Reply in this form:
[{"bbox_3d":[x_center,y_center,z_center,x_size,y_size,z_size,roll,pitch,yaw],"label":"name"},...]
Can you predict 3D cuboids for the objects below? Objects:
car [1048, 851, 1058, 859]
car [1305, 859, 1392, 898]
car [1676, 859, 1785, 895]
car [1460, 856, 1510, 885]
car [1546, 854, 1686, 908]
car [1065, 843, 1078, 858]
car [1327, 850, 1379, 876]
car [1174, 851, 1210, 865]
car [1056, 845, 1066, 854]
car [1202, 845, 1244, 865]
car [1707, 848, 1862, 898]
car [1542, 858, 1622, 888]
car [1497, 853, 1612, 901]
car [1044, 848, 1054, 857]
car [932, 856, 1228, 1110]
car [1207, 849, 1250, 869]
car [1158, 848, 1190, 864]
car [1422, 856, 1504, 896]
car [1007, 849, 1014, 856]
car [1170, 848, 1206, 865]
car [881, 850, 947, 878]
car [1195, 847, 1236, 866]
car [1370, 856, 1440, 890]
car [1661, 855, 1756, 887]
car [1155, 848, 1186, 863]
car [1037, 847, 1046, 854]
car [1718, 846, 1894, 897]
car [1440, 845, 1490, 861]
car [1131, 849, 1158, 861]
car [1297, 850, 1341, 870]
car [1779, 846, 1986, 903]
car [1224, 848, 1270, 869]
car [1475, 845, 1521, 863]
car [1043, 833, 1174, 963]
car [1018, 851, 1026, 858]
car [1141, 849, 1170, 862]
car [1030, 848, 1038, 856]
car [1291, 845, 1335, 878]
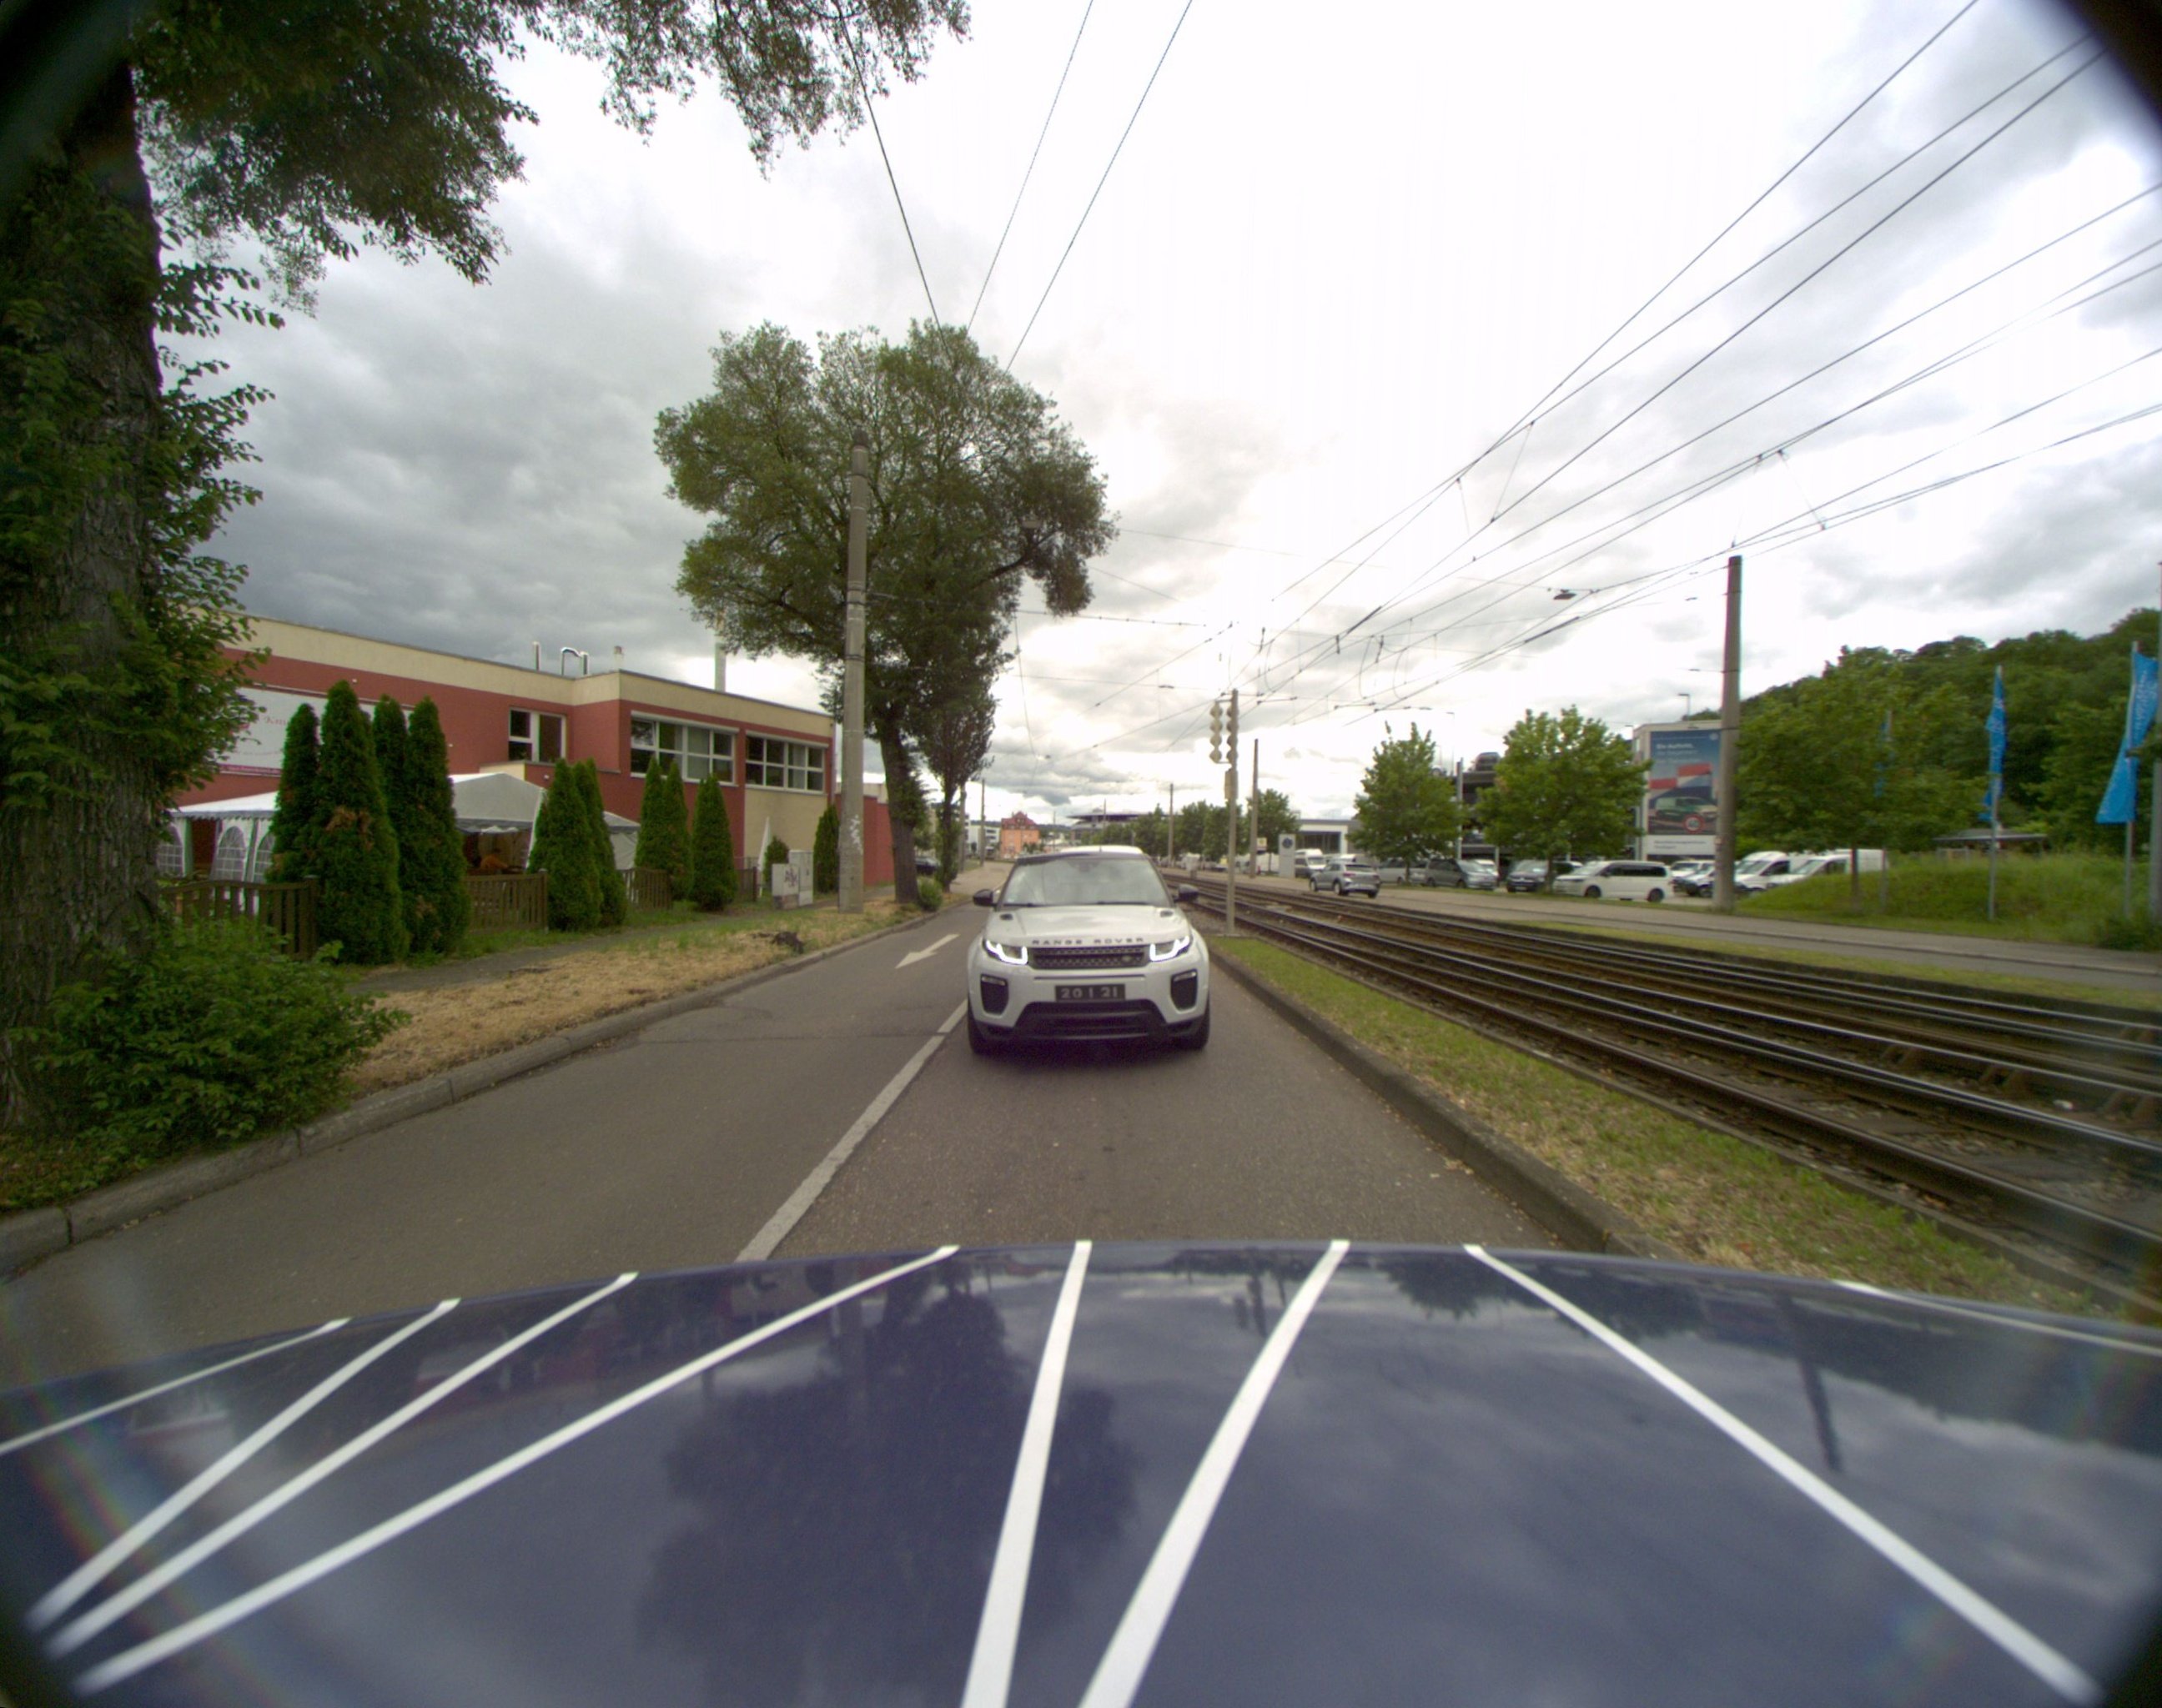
[{"bbox_3d":[-7.019,0.281,191.678,2.000,2.002,3.997,-2,1,-7],"label":"car"},{"bbox_3d":[11.946,1.061,34.239,2.000,1.569,4.175,1,0,-7],"label":"car"},{"bbox_3d":[36.647,1.282,42.979,4.228,1.826,1.983,-2,1,19],"label":"car"},{"bbox_3d":[28.870,1.144,54.401,1.900,1.882,4.600,-2,1,12],"label":"car"},{"bbox_3d":[25.262,1.237,35.991,5.269,2.254,1.999,-2,1,-3],"label":"car"},{"bbox_3d":[-1.910,-0.699,150.729,2.410,2.931,4.747,-2,1,-2],"label":"car"},{"bbox_3d":[30.308,0.968,84.557,6.057,2.608,2.316,-3,1,-34],"label":"car"},{"bbox_3d":[15.743,0.587,108.118,4.639,1.829,2.107,-2,1,-8],"label":"car"},{"bbox_3d":[-4.667,-1.061,178.501,2.000,2.002,3.997,-2,1,-7],"label":"car"},{"bbox_3d":[17.473,0.133,93.602,4.639,2.196,2.107,-2,1,-8],"label":"car"},{"bbox_3d":[36.764,1.001,39.916,5.652,2.446,1.983,-2,1,19],"label":"car"},{"bbox_3d":[34.389,1.298,52.309,4.228,1.826,1.983,-2,1,19],"label":"car"},{"bbox_3d":[24.670,1.150,39.661,4.774,2.254,1.979,-2,1,-3],"label":"car"},{"bbox_3d":[-7.326,-0.277,174.236,2.000,2.002,3.997,-2,1,-7],"label":"car"},{"bbox_3d":[-0.007,0.887,7.288,1.998,1.680,4.268,0,1,0],"label":"car"},{"bbox_3d":[17.681,0.599,91.166,4.639,2.196,2.107,-2,1,-8],"label":"car"},{"bbox_3d":[14.737,0.303,120.476,4.639,2.196,2.107,-2,1,-8],"label":"car"},{"bbox_3d":[22.934,1.266,45.861,2.142,2.104,4.773,-2,1,-7],"label":"car"},{"bbox_3d":[-21.829,-0.369,235.771,2.000,2.002,3.997,-2,1,-7],"label":"car"},{"bbox_3d":[15.521,0.385,110.520,4.639,2.196,2.107,-2,1,-8],"label":"car"},{"bbox_3d":[-10.843,0.616,49.587,3.999,1.636,1.895,-2,1,-6],"label":"car"},{"bbox_3d":[17.052,0.314,96.386,4.639,2.196,2.107,-2,1,-8],"label":"car"},{"bbox_3d":[22.116,1.233,52.095,2.142,2.104,4.772,-2,1,-8],"label":"car"},{"bbox_3d":[39.864,1.060,48.390,4.228,1.826,1.983,-2,1,19],"label":"car"},{"bbox_3d":[14.460,0.286,122.911,4.639,2.196,2.107,-2,1,-8],"label":"car"},{"bbox_3d":[-10.669,-0.977,205.058,2.000,2.002,3.997,-2,1,-7],"label":"car"},{"bbox_3d":[34.983,0.854,36.909,5.839,2.254,2.056,-2,1,22],"label":"car"},{"bbox_3d":[46.321,-0.116,91.793,5.216,1.826,1.983,-2,1,21],"label":"car"},{"bbox_3d":[11.821,0.181,141.310,4.639,2.196,2.107,-2,1,-8],"label":"car"},{"bbox_3d":[29.101,0.714,93.020,4.636,2.196,2.108,-2,1,-1],"label":"car"},{"bbox_3d":[34.666,0.908,33.120,5.850,2.254,2.056,-2,1,22],"label":"car"},{"bbox_3d":[18.759,0.534,86.080,4.639,2.196,2.107,-2,1,-8],"label":"car"},{"bbox_3d":[47.092,-0.030,85.892,4.227,1.826,1.983,-2,1,21],"label":"car"},{"bbox_3d":[0.424,0.654,14.090,1.998,1.990,5.033,0,1,0],"label":"car"},{"bbox_3d":[-16.350,0.090,211.273,2.000,2.002,3.997,-2,1,-7],"label":"car"},{"bbox_3d":[12.988,0.231,132.827,4.639,2.196,2.107,-2,1,-8],"label":"car"},{"bbox_3d":[-12.298,-0.518,199.012,2.000,2.002,3.997,-2,1,-7],"label":"car"},{"bbox_3d":[22.388,0.670,73.586,2.320,2.994,6.157,-2,1,0],"label":"car"}]
